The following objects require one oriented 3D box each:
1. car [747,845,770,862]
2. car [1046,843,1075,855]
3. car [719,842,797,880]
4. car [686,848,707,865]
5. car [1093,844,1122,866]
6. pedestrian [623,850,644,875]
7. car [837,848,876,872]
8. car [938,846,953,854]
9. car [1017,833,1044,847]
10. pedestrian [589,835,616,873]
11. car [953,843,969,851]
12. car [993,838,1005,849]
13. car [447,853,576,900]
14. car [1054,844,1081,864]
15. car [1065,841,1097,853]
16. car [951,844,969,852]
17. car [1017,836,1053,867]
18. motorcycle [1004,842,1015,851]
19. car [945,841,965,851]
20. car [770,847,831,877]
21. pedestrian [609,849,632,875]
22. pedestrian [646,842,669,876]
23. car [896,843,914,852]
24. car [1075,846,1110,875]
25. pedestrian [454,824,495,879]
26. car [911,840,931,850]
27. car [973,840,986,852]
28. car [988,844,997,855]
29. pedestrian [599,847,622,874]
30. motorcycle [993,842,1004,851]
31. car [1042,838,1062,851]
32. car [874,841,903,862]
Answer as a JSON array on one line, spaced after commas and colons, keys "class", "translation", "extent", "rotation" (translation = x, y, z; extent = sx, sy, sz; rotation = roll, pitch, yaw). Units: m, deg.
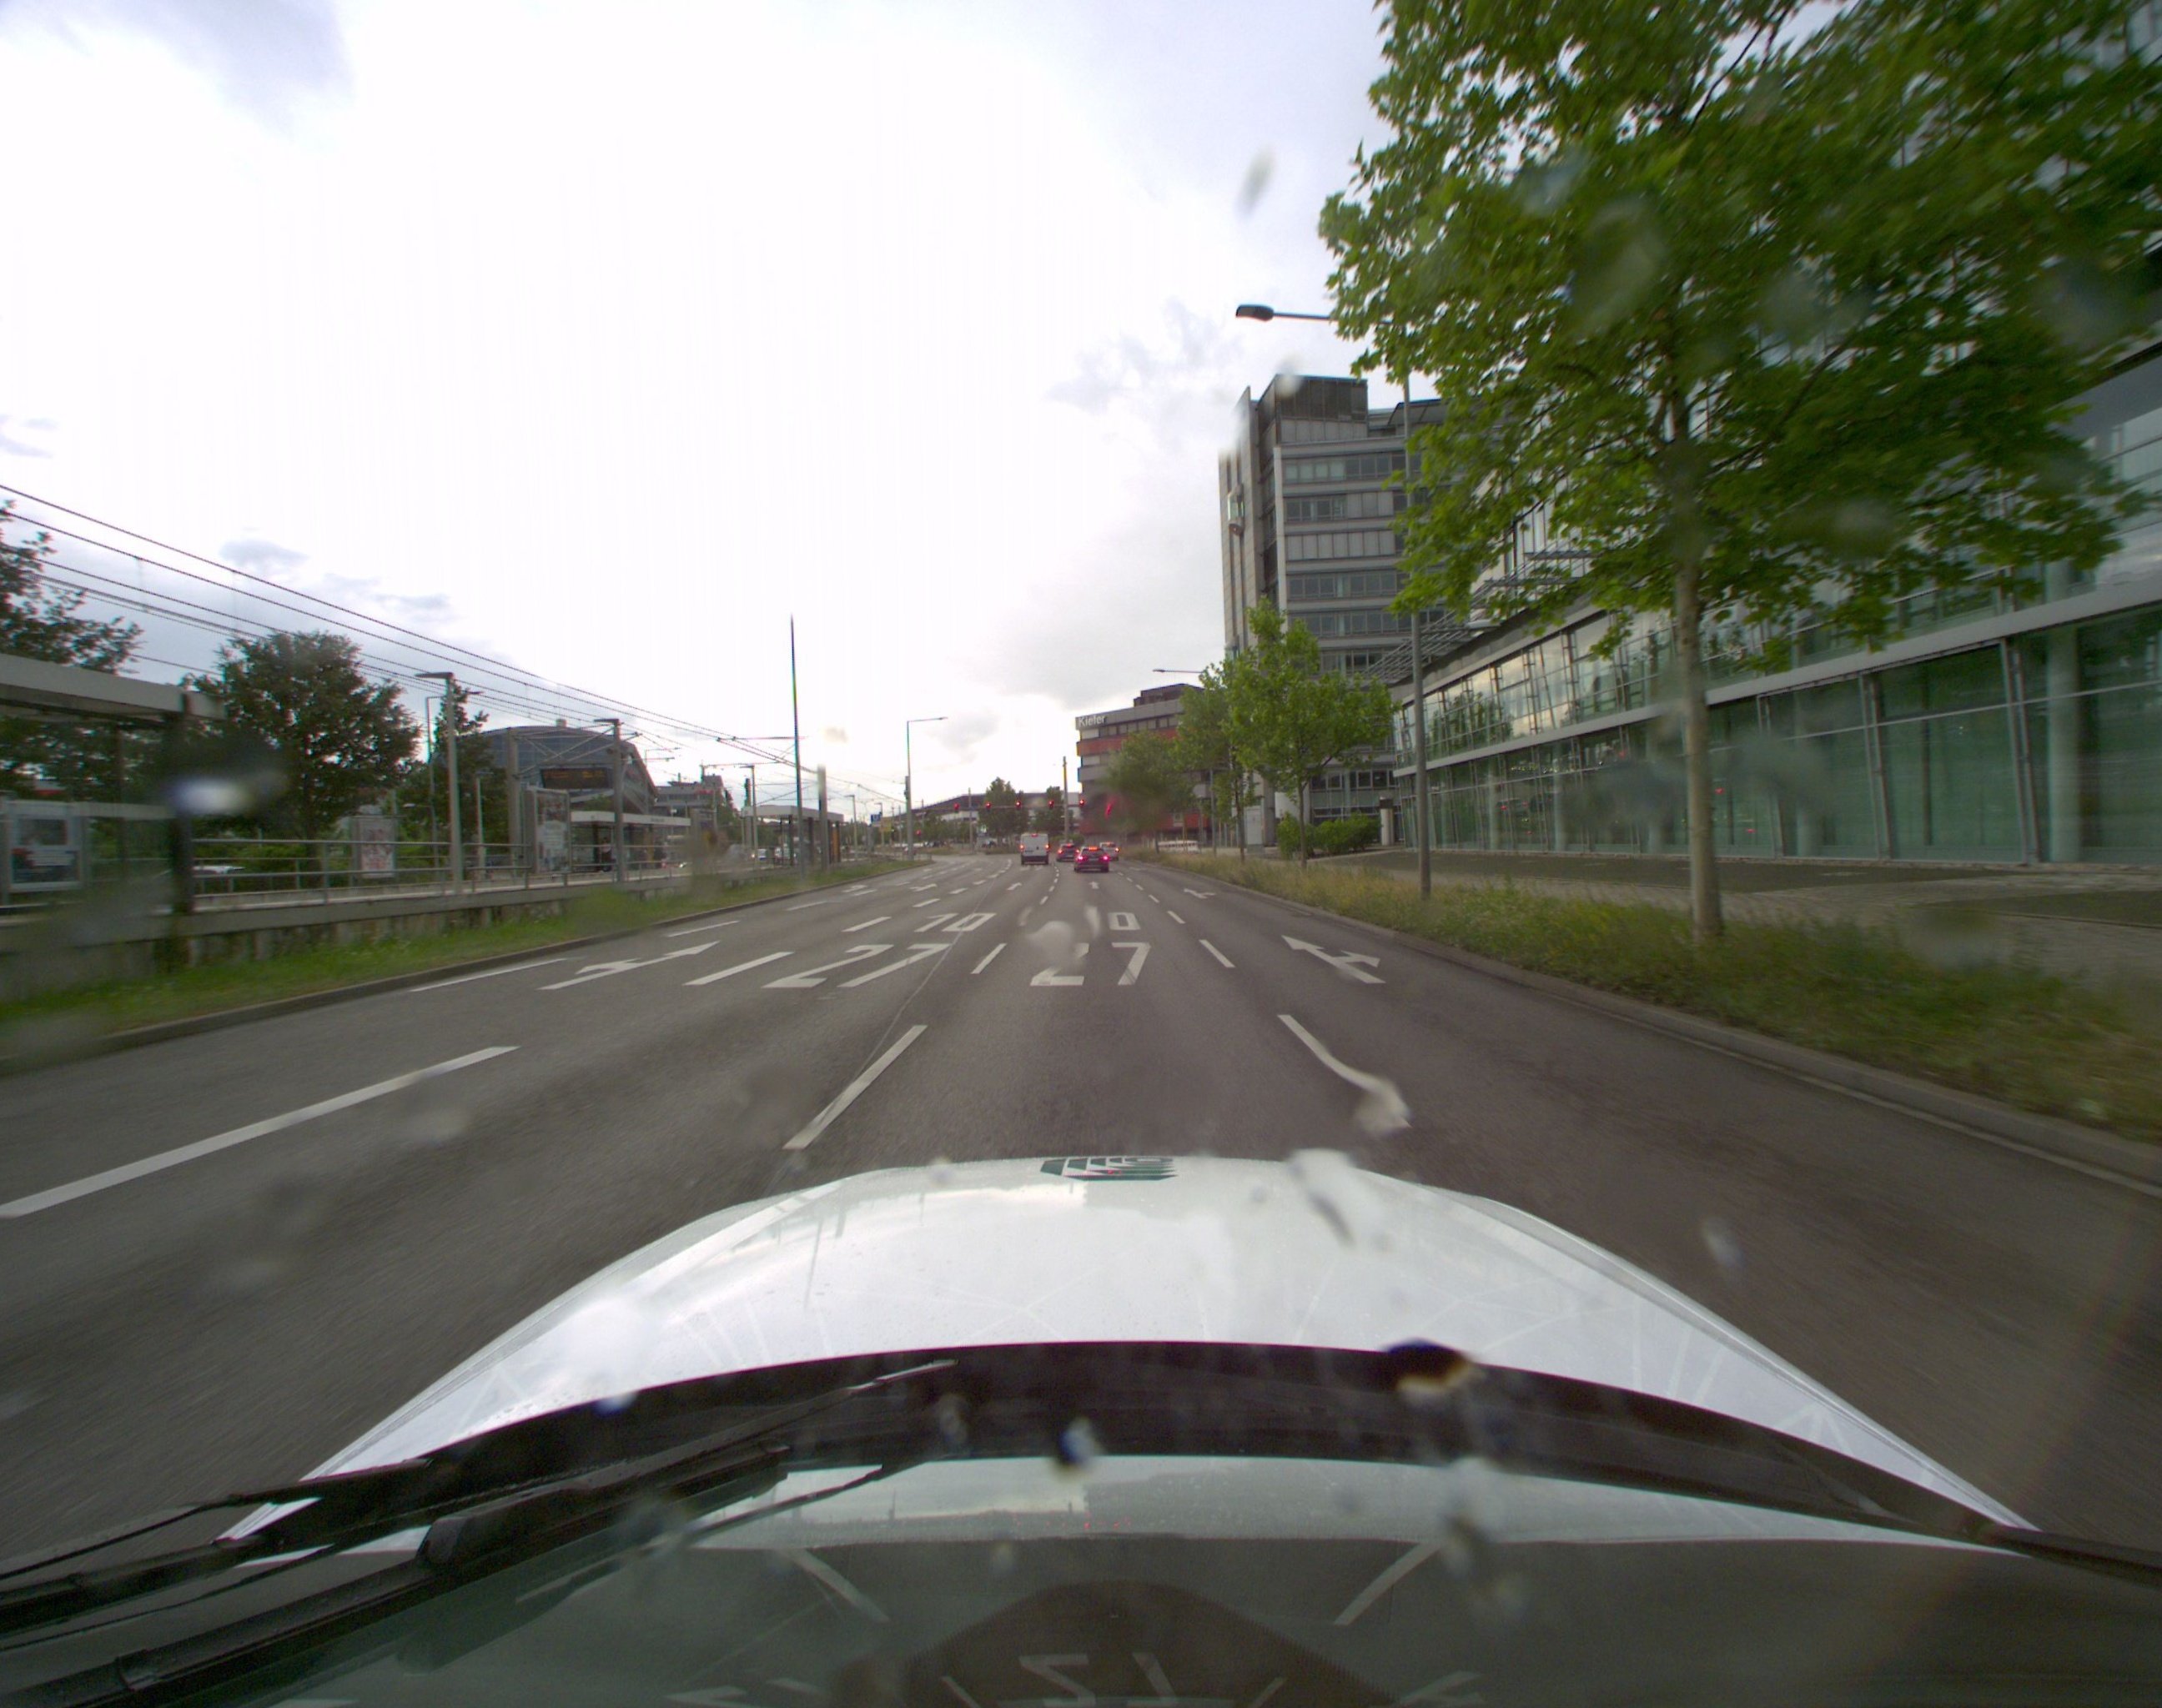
[{"class": "car", "translation": [-42.700, -0.065, 107.848], "extent": [2.008, 2.014, 3.956], "rotation": [1, -4, -35]}, {"class": "car", "translation": [-3.013, -0.687, 117.792], "extent": [2.039, 1.623, 3.951], "rotation": [0, -1, -44]}, {"class": "car", "translation": [-13.889, 0.255, 35.291], "extent": [1.989, 1.452, 3.844], "rotation": [-1, 3, -3]}, {"class": "car", "translation": [-52.505, 0.380, 111.118], "extent": [2.008, 2.014, 3.956], "rotation": [1, -4, -35]}, {"class": "car", "translation": [2.140, 0.070, 66.727], "extent": [2.017, 1.769, 3.996], "rotation": [-1, 1, -3]}, {"class": "pedestrian", "translation": [-23.075, 0.458, 42.013], "extent": [0.725, 1.253, 0.730], "rotation": [-1, -2, -5]}, {"class": "car", "translation": [-16.878, 0.475, 61.333], "extent": [1.989, 1.675, 3.842], "rotation": [2, -1, -3]}, {"class": "car", "translation": [-38.279, -1.194, 229.869], "extent": [4.001, 2.014, 1.986], "rotation": [0, -3, -20]}, {"class": "car", "translation": [-7.814, -2.150, 125.266], "extent": [2.011, 2.014, 3.951], "rotation": [2, -2, -44]}, {"class": "pedestrian", "translation": [-21.980, 0.008, 37.423], "extent": [0.727, 1.715, 0.830], "rotation": [-1, -2, -2]}, {"class": "car", "translation": [-31.633, -1.724, 214.408], "extent": [4.001, 2.014, 1.986], "rotation": [0, -3, -20]}, {"class": "car", "translation": [-17.426, -2.199, 173.262], "extent": [1.997, 2.014, 3.978], "rotation": [0, -3, -15]}, {"class": "car", "translation": [-18.004, 0.672, 25.935], "extent": [1.855, 1.336, 3.330], "rotation": [-1, 1, -3]}, {"class": "car", "translation": [-1.138, 0.031, 66.916], "extent": [2.018, 1.623, 3.993], "rotation": [-1, -1, -5]}, {"class": "car", "translation": [0.005, -0.992, 113.962], "extent": [2.039, 1.623, 4.272], "rotation": [0, -1, -44]}, {"class": "car", "translation": [-29.488, -1.463, 197.827], "extent": [4.001, 2.014, 1.986], "rotation": [0, -3, -20]}, {"class": "car", "translation": [-3.391, -0.185, 60.866], "extent": [2.504, 2.177, 5.146], "rotation": [-1, 0, -2]}, {"class": "motorcycle", "translation": [-16.978, -1.805, 192.519], "extent": [1.996, 2.014, 3.980], "rotation": [0, -3, -14]}, {"class": "car", "translation": [-27.966, -1.805, 180.620], "extent": [4.001, 2.014, 1.986], "rotation": [0, -3, -20]}, {"class": "car", "translation": [-14.500, 0.464, 42.341], "extent": [1.989, 1.453, 3.842], "rotation": [-1, -2, -3]}, {"class": "pedestrian", "translation": [-23.127, 0.400, 40.896], "extent": [0.725, 1.253, 0.730], "rotation": [-1, -2, -5]}, {"class": "pedestrian", "translation": [-22.097, 0.252, 42.506], "extent": [0.750, 1.751, 0.763], "rotation": [-1, -3, -3]}, {"class": "car", "translation": [-42.932, -1.608, 198.735], "extent": [4.001, 2.014, 1.986], "rotation": [0, -3, -20]}, {"class": "car", "translation": [0.712, 0.337, 45.735], "extent": [1.757, 1.463, 4.630], "rotation": [-1, 0, 3]}, {"class": "pedestrian", "translation": [-22.819, -0.068, 30.663], "extent": [0.856, 2.014, 1.036], "rotation": [0, -3, -13]}, {"class": "car", "translation": [-33.751, -1.869, 171.787], "extent": [4.001, 2.014, 1.986], "rotation": [0, -3, -20]}, {"class": "car", "translation": [-19.105, -1.471, 152.689], "extent": [1.996, 2.014, 3.980], "rotation": [0, -3, -14]}, {"class": "car", "translation": [-18.388, -0.949, 168.779], "extent": [1.817, 2.014, 3.460], "rotation": [-1, -3, -9]}, {"class": "pedestrian", "translation": [-22.863, 0.317, 39.574], "extent": [0.725, 1.253, 0.730], "rotation": [-1, -2, -5]}, {"class": "motorcycle", "translation": [-19.433, -1.762, 191.745], "extent": [1.996, 2.014, 3.980], "rotation": [0, -3, -14]}, {"class": "car", "translation": [-5.244, -1.708, 147.964], "extent": [2.005, 2.014, 3.963], "rotation": [1, -3, -28]}, {"class": "car", "translation": [-17.906, -0.185, 75.915], "extent": [1.989, 1.809, 3.843], "rotation": [2, -1, -3]}]
